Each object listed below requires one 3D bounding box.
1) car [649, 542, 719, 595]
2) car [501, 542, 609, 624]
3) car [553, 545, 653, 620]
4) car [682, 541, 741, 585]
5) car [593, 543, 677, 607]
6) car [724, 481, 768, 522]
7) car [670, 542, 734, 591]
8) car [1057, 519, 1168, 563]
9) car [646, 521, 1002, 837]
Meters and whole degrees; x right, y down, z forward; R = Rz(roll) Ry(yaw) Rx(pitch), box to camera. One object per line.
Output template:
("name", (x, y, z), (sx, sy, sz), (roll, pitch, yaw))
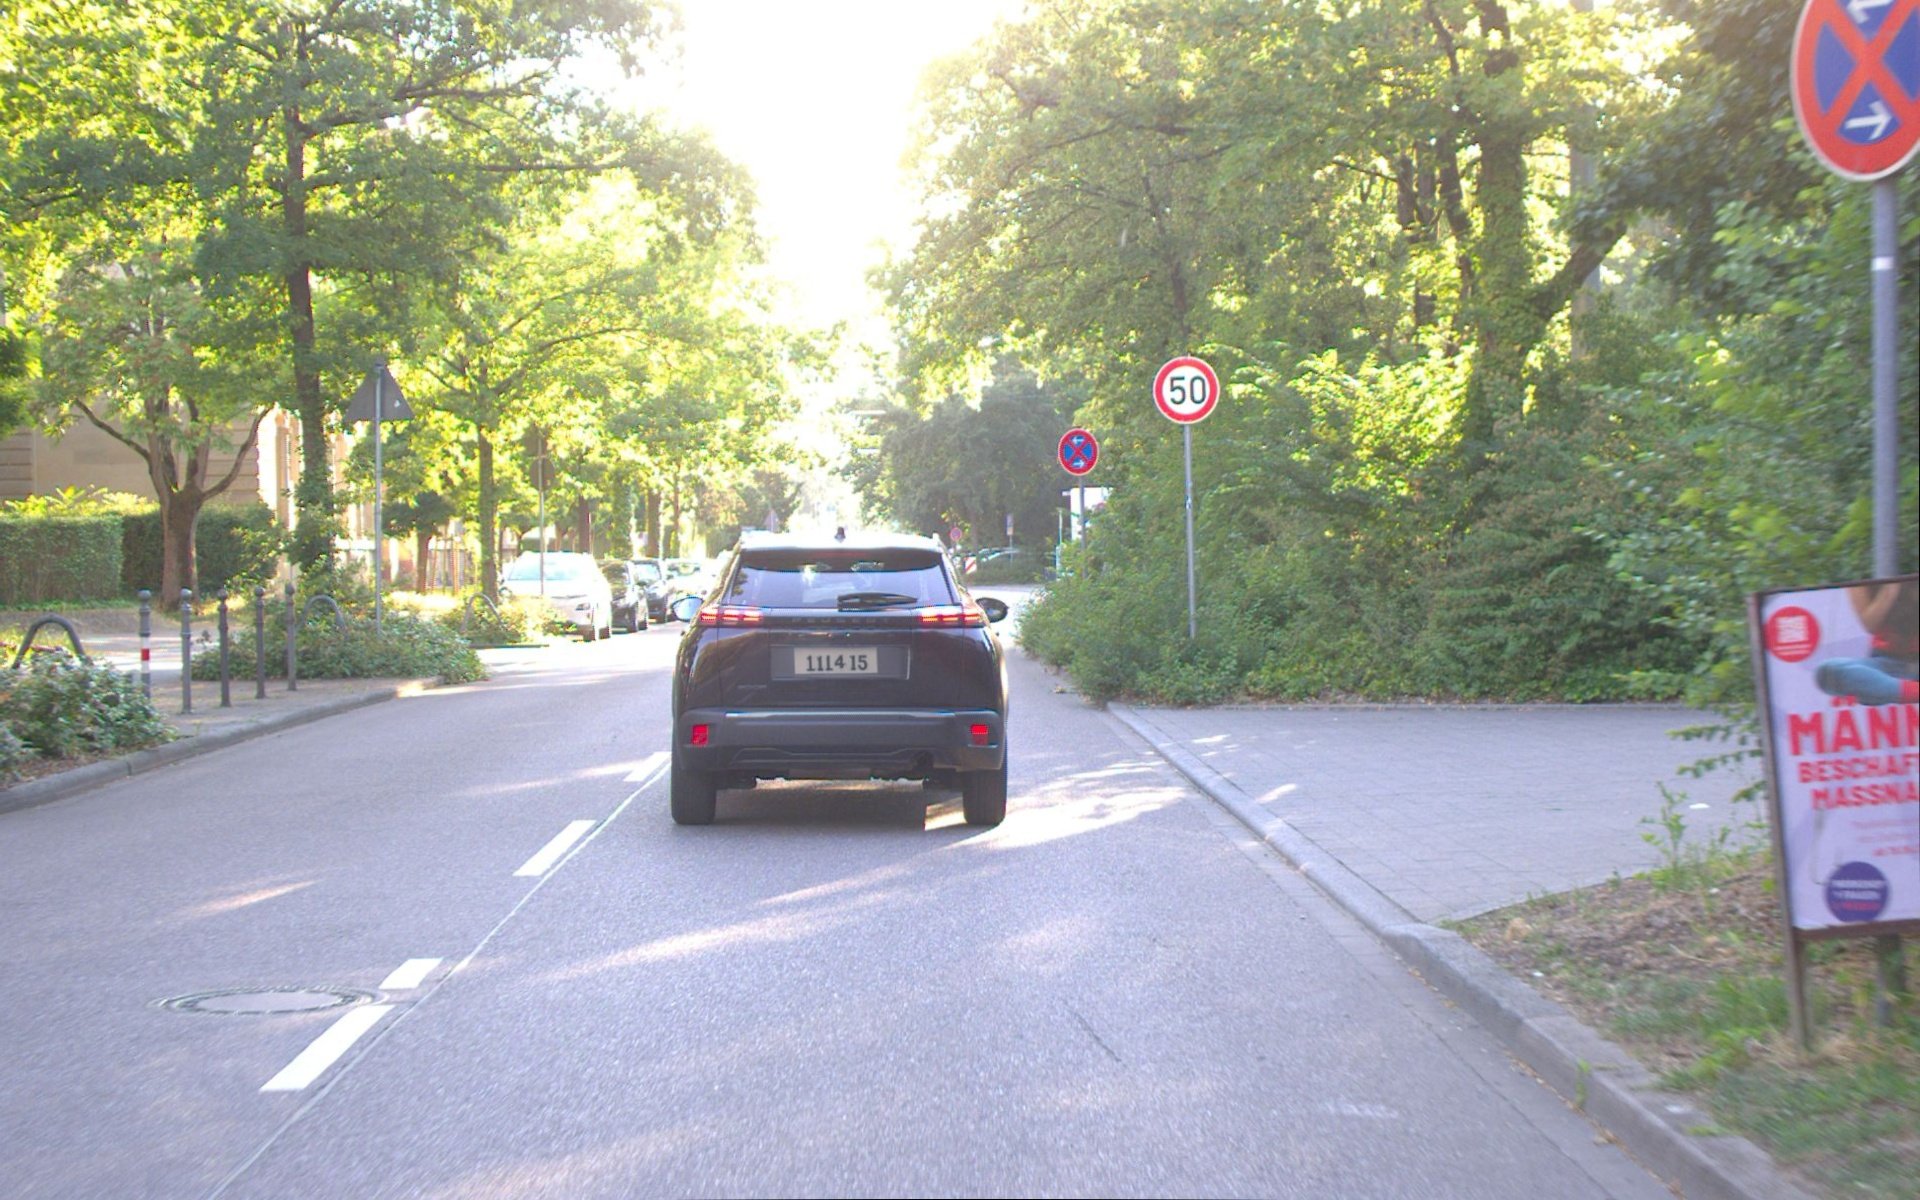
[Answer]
("car", (-7.505, -0.868, 93.391), (1.810, 1.349, 4.001), (-2, 1, -5))
("car", (-7.135, -0.327, 60.857), (1.810, 1.349, 4.001), (-2, 1, -6))
("car", (-6.935, -0.371, 67.105), (1.810, 1.349, 4.001), (-2, 1, -5))
("car", (-8.046, -1.207, 110.994), (1.810, 1.349, 4.001), (-2, 1, -5))
("car", (-7.393, -0.594, 78.430), (1.810, 1.349, 4.001), (-2, 1, -5))
("car", (-10.310, -4.741, 165.842), (1.907, 1.861, 3.949), (-1, 1, -1))
("car", (-7.596, -1.008, 100.940), (1.810, 1.349, 3.980), (-2, 1, -5))
("car", (5.775, -2.253, 130.554), (3.986, 1.577, 1.816), (-2, 1, -4))
("car", (-0.738, 0.360, 18.990), (1.768, 1.563, 3.381), (-1, 1, -2))
